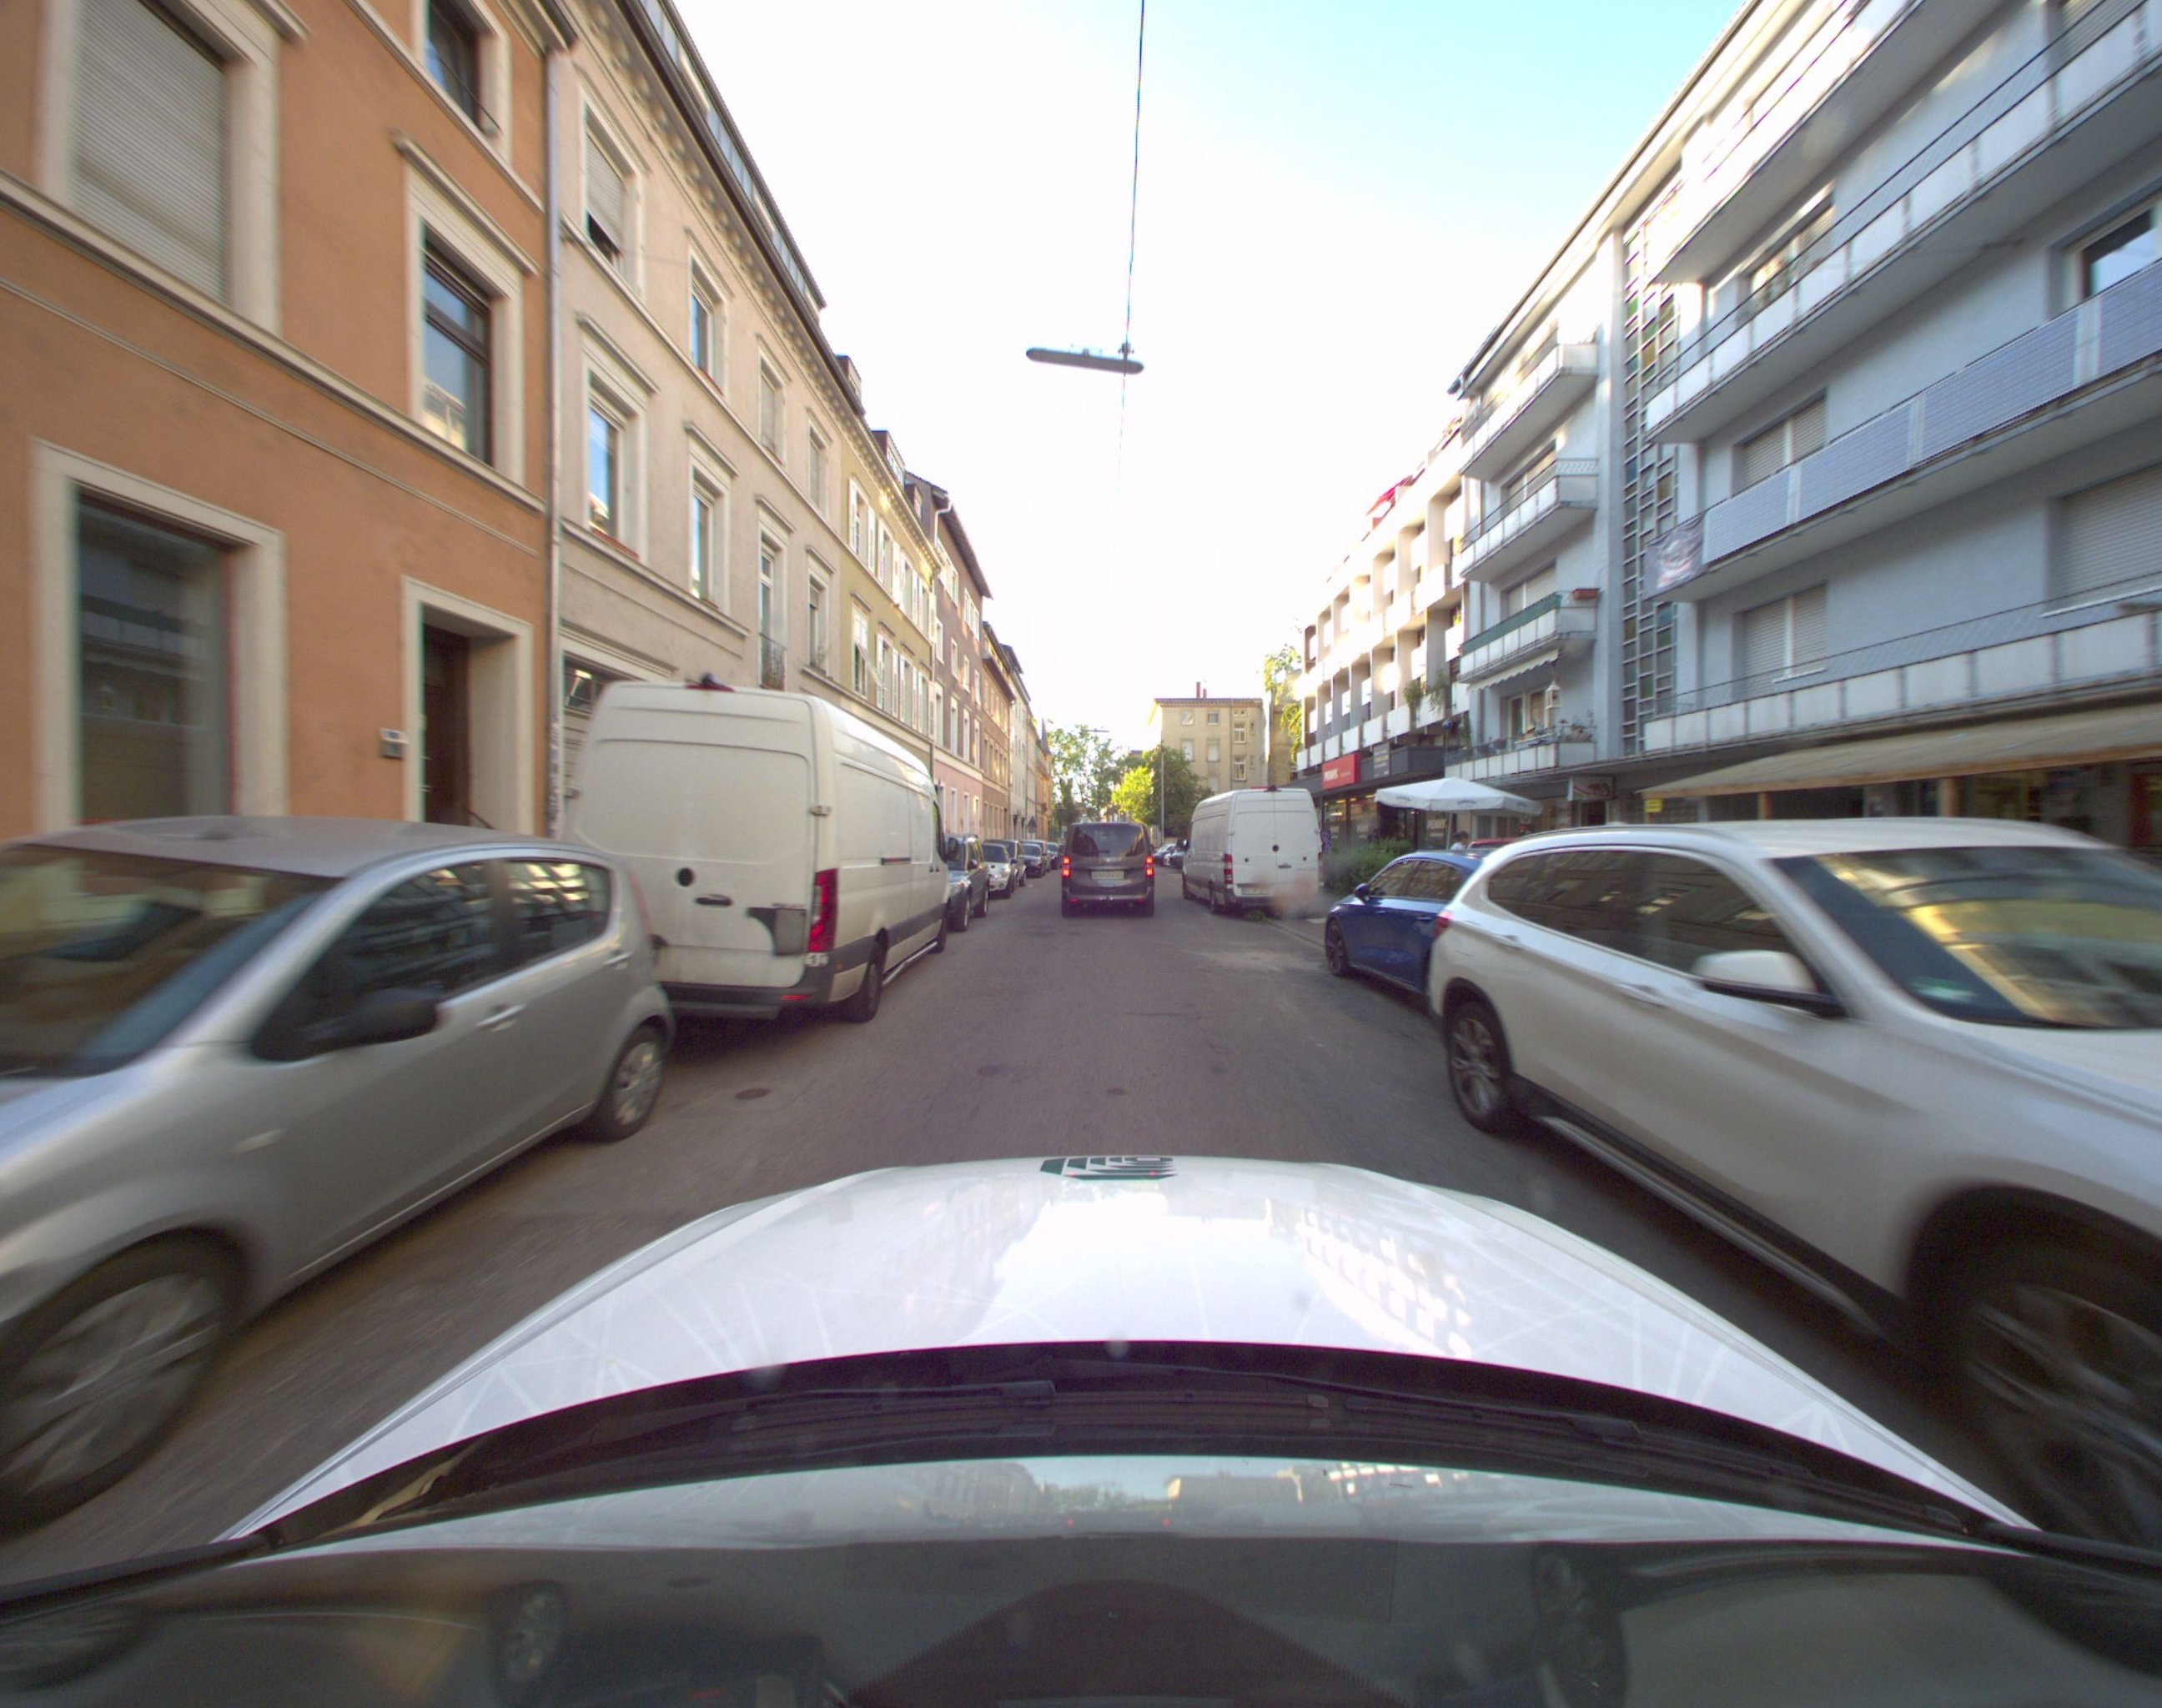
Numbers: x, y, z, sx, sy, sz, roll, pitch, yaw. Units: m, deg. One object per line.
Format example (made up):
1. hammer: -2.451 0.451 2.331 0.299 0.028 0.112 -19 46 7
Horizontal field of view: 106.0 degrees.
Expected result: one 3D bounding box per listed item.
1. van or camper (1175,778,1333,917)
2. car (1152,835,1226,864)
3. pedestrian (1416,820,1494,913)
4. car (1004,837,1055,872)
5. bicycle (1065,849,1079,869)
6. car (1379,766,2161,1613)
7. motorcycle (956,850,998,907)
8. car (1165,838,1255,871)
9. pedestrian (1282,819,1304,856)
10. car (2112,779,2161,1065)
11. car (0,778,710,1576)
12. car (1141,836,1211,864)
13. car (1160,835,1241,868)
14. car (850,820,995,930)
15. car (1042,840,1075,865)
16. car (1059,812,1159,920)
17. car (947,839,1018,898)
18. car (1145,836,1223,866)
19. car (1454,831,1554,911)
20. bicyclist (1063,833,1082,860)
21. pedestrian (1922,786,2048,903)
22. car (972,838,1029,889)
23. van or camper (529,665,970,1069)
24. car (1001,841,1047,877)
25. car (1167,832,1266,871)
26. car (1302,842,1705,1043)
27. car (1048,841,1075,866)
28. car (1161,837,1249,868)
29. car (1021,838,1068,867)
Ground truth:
1. van or camper: 3.722 -0.192 19.221 2.093 2.602 7.511 -1 1 0
2. car: 7.201 -0.303 54.437 4.564 1.858 1.996 0 1 -6
3. pedestrian: 6.628 0.199 14.457 0.874 1.555 0.869 -3 1 -21
4. car: -2.474 -0.017 40.147 1.985 1.605 4.589 1 1 3
5. bicycle: -0.546 0.291 49.087 0.618 1.138 2.260 -1 1 4
6. car: 2.886 0.618 3.155 1.717 1.611 4.586 0 1 -1
7. motorcycle: -2.466 0.552 19.583 0.708 1.234 2.474 0 1 -1
8. car: 6.804 0.013 43.224 4.446 1.675 1.795 1 1 -4
9. pedestrian: 11.319 -0.857 43.437 1.077 1.945 0.876 0 1 18
10. car: 8.018 0.437 3.952 3.883 1.607 1.694 1 1 0
11. car: -3.052 0.648 3.066 1.585 1.685 3.653 1 1 1
12. car: 6.583 -0.277 56.872 4.564 1.858 1.996 0 1 -6
13. car: 7.067 -0.164 48.538 4.467 1.858 1.881 0 1 -6
14. car: -2.772 0.298 15.226 1.857 1.750 4.293 1 1 0
15. car: -1.565 -0.144 55.641 2.138 1.560 4.582 1 1 -2
16. car: 0.542 0.186 17.518 1.852 2.013 4.000 -2 1 0
17. car: -2.675 0.346 22.800 1.707 1.497 3.852 1 1 -3
18. car: 6.498 -0.210 51.508 4.564 1.792 1.996 0 1 -6
19. car: 8.314 0.274 16.229 1.585 1.416 3.247 0 1 24
20. bicyclist: -0.523 -0.444 49.313 1.029 1.577 0.834 -1 1 5
21. pedestrian: 13.844 -0.147 12.502 0.843 1.702 0.955 1 1 -4
22. car: -2.561 0.259 26.349 1.380 1.532 2.752 1 1 4
23. van or camper: -2.685 0.023 8.996 1.943 2.649 7.139 -1 1 -1
24. car: -2.405 0.172 35.235 1.783 1.397 4.465 1 1 -2
25. car: 6.666 -0.127 40.455 4.555 1.858 2.000 1 1 0
26. car: 3.644 0.602 8.028 1.717 1.388 4.294 -1 1 0
27. car: -1.552 -0.051 64.257 1.988 1.858 4.582 1 1 -2
28. car: 6.976 -0.094 45.910 4.564 1.705 1.996 0 1 -6
29. car: -1.983 -0.131 46.044 1.983 1.560 4.593 1 1 6
